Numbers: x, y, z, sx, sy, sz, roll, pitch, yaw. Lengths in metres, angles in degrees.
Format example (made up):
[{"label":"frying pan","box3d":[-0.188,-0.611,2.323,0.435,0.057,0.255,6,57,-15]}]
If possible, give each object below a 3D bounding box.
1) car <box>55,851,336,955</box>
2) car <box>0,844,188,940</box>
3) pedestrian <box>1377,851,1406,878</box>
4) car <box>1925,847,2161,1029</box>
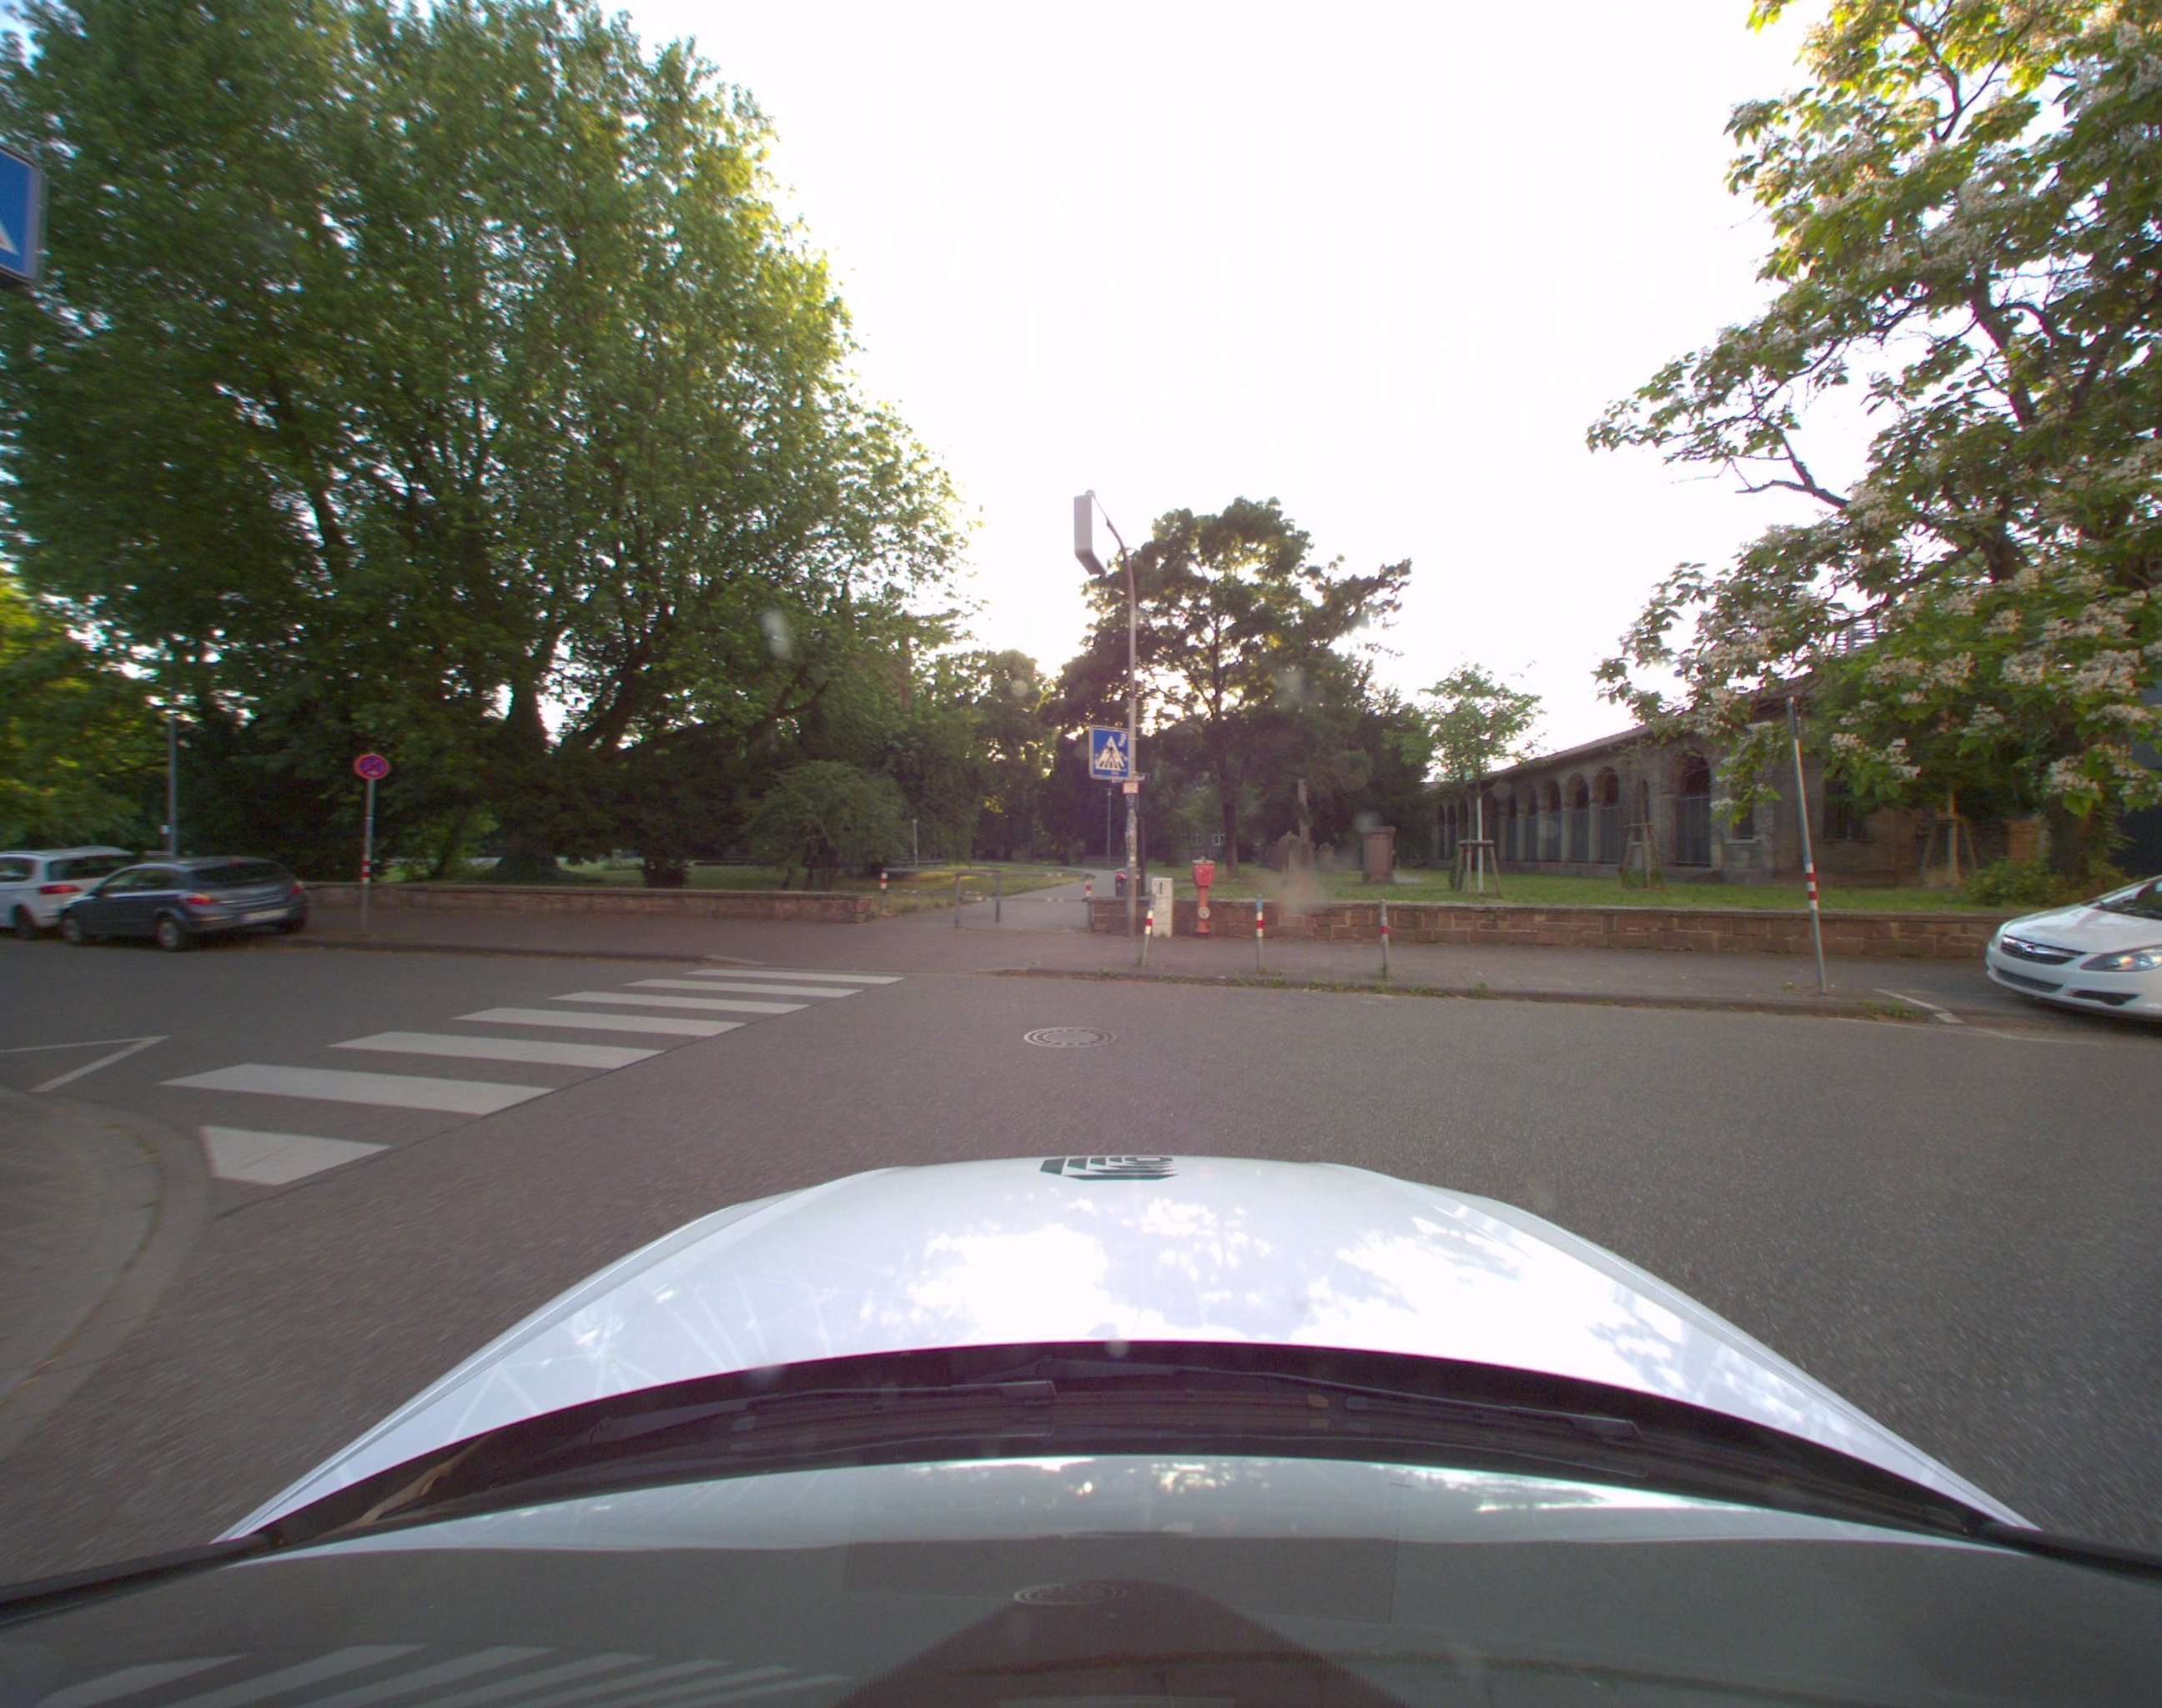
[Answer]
[{"label":"car","box3d":[-15.638,0.778,14.438,3.821,1.491,1.833,0,6,18]},{"label":"car","box3d":[-20.120,0.690,15.974,3.840,1.562,1.832,0,6,15]},{"label":"pedestrian","box3d":[16.960,0.553,44.502,1.319,1.444,1.049,0,0,11]},{"label":"car","box3d":[11.111,0.757,7.763,3.831,1.574,1.964,1,0,10]}]
